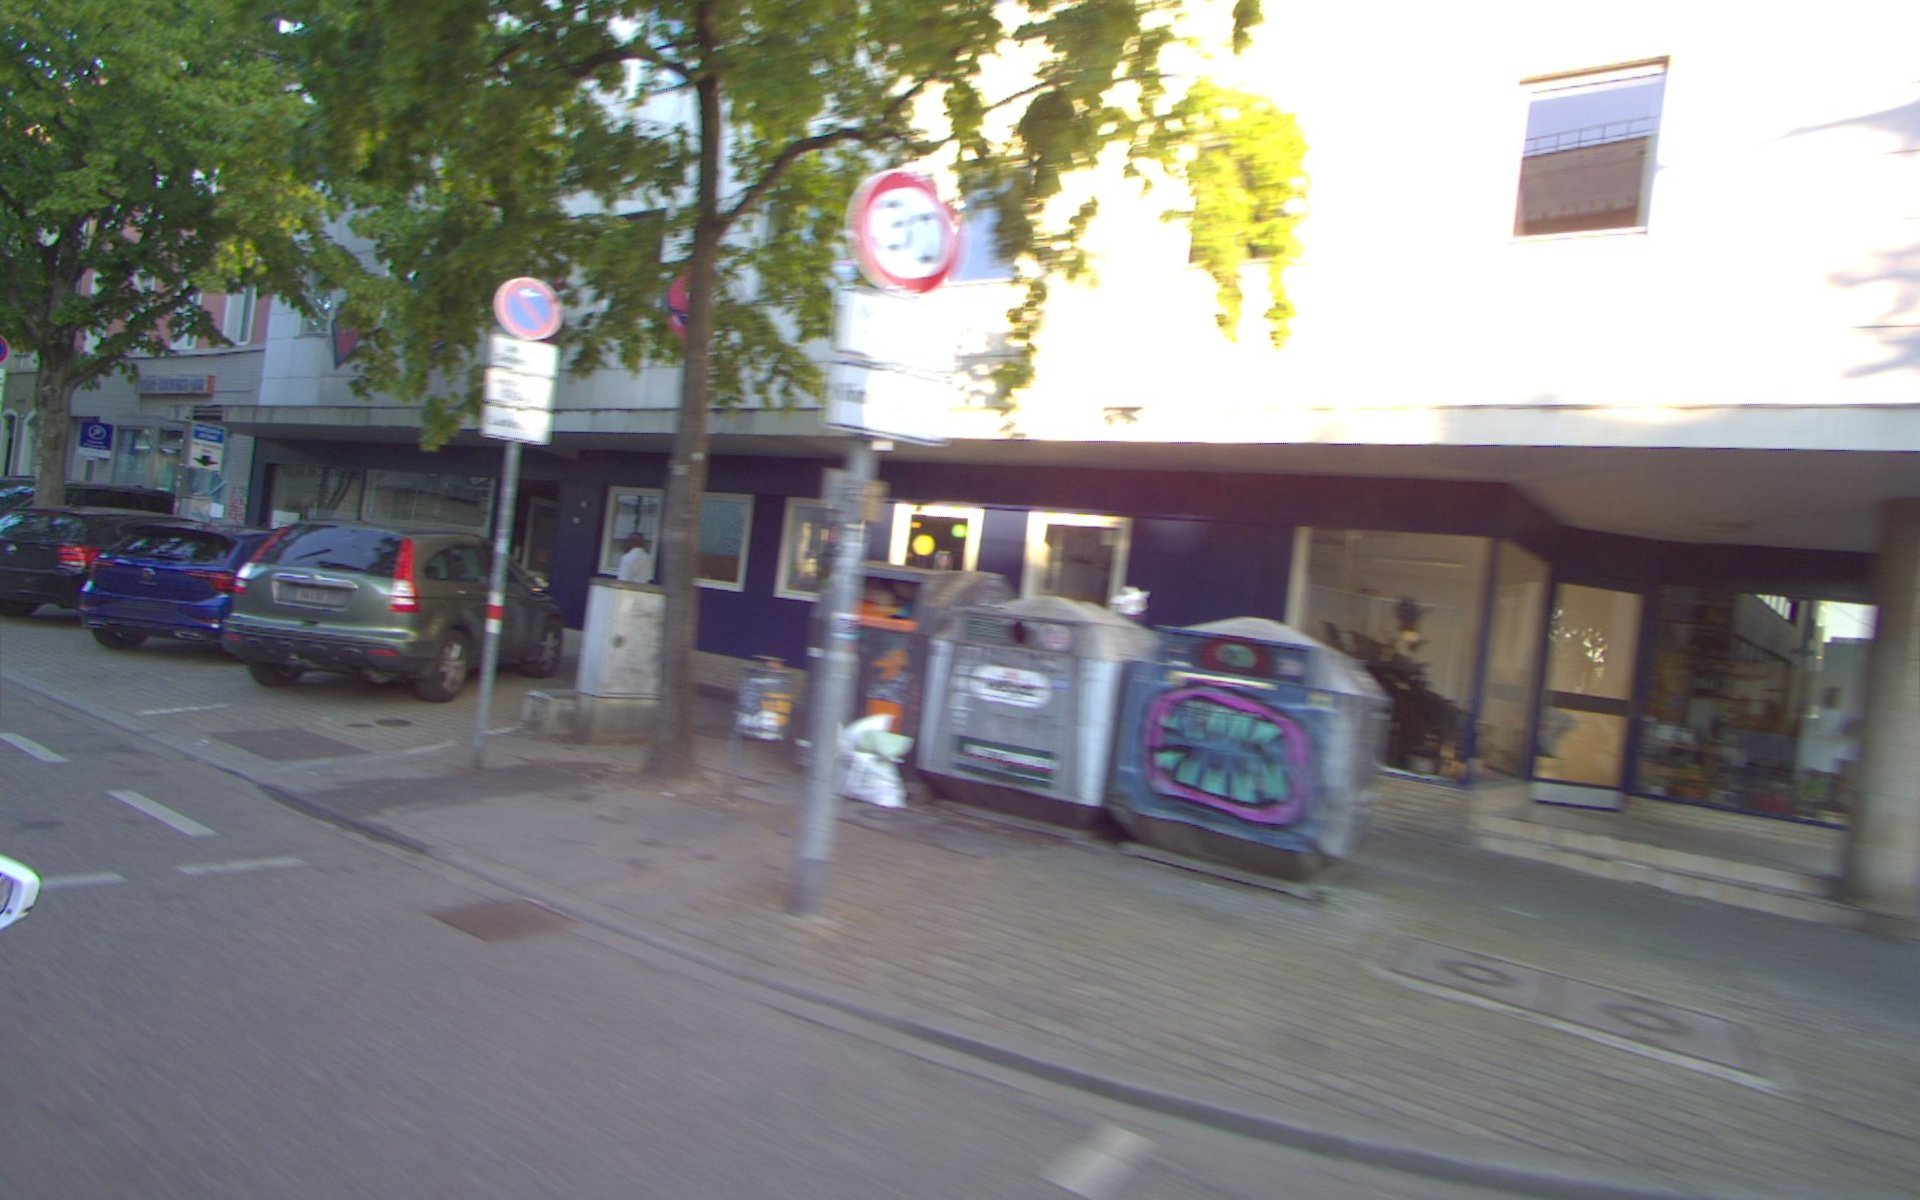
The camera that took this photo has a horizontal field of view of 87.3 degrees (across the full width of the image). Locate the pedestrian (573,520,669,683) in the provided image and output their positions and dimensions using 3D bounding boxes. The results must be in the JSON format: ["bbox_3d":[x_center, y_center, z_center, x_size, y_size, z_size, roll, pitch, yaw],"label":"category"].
[{"bbox_3d":[-4.414,0.018,13.093,0.772,2.011,0.692,7,2,31],"label":"pedestrian"}]

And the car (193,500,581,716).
[{"bbox_3d":[-5.766,0.026,10.823,1.808,1.686,4.163,6,1,-3],"label":"car"}]

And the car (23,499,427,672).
[{"bbox_3d":[-8.331,-0.178,11.918,1.780,1.521,3.891,6,1,1],"label":"car"}]

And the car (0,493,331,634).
[{"bbox_3d":[-10.885,-0.489,13.538,1.934,1.484,4.166,6,1,4],"label":"car"}]

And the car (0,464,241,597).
[{"bbox_3d":[-14.376,-1.111,15.584,2.166,1.850,4.978,7,1,13],"label":"car"}]

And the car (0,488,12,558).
[{"bbox_3d":[-21.073,-1.682,19.415,1.694,1.445,3.758,6,1,7],"label":"car"}]

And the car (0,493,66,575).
[{"bbox_3d":[-18.886,-1.360,17.796,1.938,1.444,4.227,7,0,10],"label":"car"}]

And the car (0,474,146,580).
[{"bbox_3d":[-16.694,-1.331,16.961,1.938,1.670,4.224,7,1,13],"label":"car"}]

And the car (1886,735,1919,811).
[{"bbox_3d":[25.605,4.577,26.048,1.826,1.826,3.886,7,-1,37],"label":"car"}]
